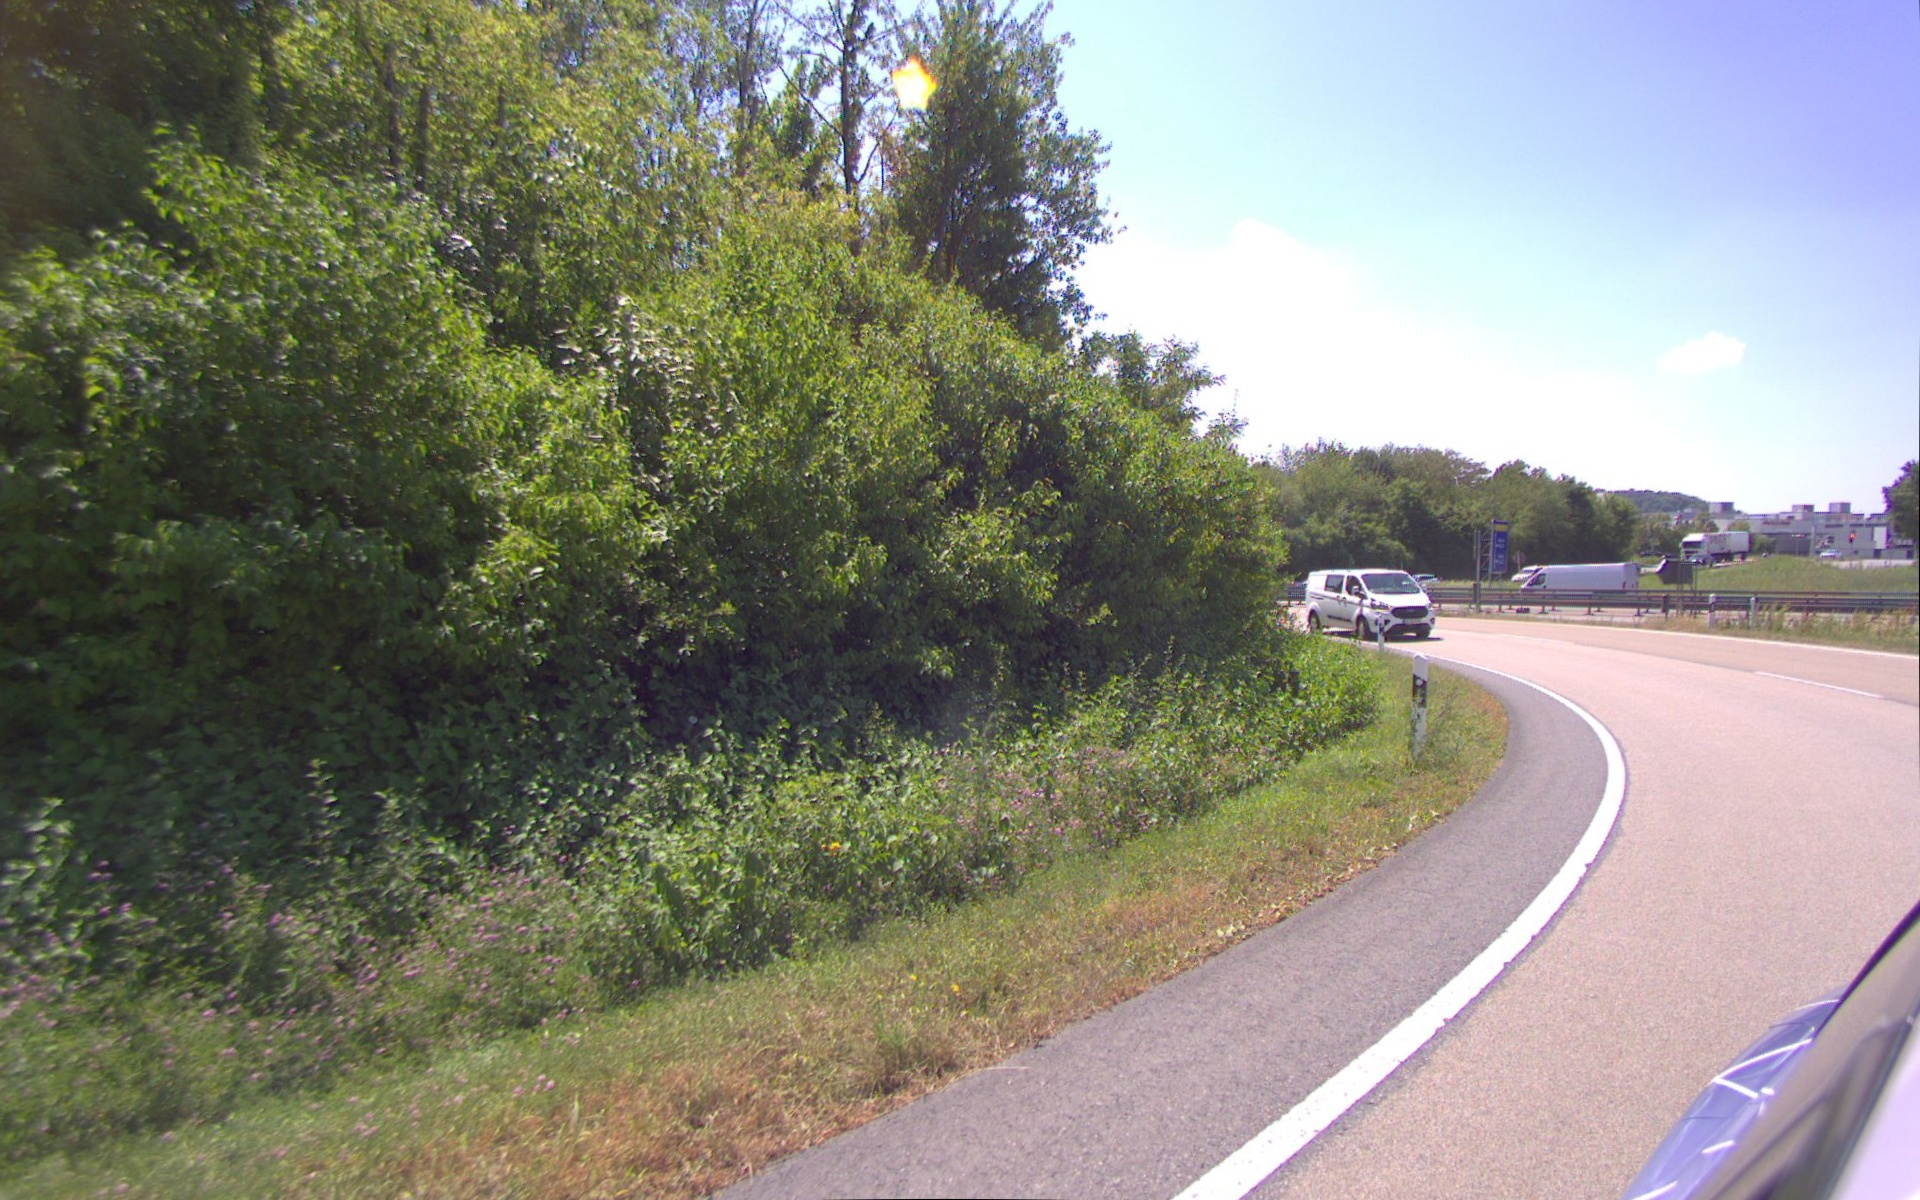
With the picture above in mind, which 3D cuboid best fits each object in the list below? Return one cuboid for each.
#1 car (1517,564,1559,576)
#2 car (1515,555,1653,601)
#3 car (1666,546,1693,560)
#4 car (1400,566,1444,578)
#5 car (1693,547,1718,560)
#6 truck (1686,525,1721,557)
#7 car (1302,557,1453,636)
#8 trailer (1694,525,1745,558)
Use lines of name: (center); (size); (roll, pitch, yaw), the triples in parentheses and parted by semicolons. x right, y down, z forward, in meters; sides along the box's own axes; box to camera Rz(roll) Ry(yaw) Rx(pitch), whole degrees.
car: (58.715, -3.011, 102.786); (3.991, 1.180, 1.536); (-1, 1, -23)
car: (37.154, -1.299, 60.446); (2.125, 2.569, 6.693); (-2, 2, -37)
car: (85.706, -5.584, 120.555); (3.503, 1.450, 1.600); (0, 1, -36)
car: (45.437, -2.789, 99.573); (3.795, 1.180, 1.535); (0, 1, -10)
car: (92.300, -5.737, 125.237); (3.505, 1.450, 1.599); (0, 1, -38)
truck: (99.187, -7.841, 134.949); (3.928, 4.210, 2.829); (-2, 2, -39)
car: (12.379, -0.144, 30.440); (2.023, 2.038, 5.046); (-4, 1, -4)
trailer: (104.724, -8.027, 139.424); (12.035, 4.210, 2.822); (-2, 2, -39)
